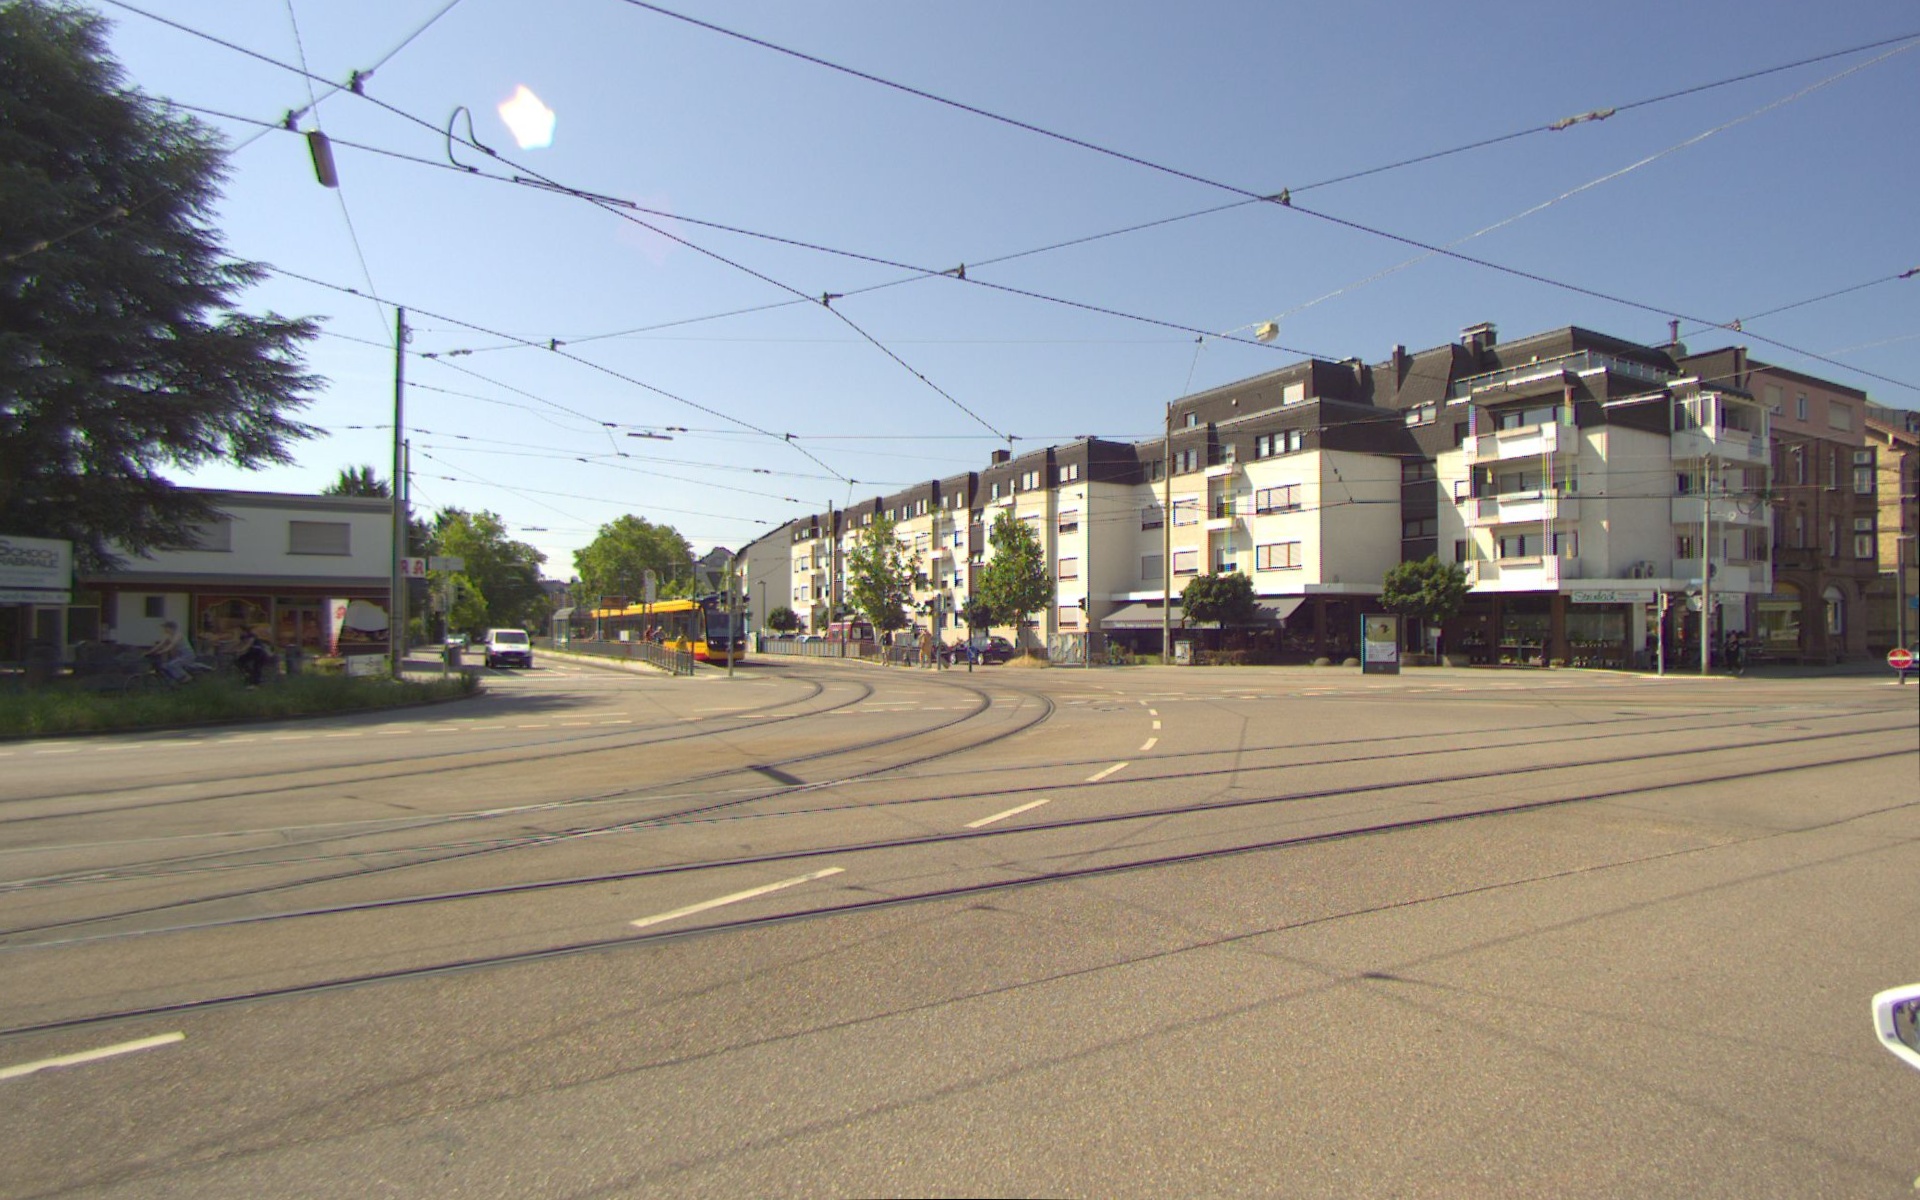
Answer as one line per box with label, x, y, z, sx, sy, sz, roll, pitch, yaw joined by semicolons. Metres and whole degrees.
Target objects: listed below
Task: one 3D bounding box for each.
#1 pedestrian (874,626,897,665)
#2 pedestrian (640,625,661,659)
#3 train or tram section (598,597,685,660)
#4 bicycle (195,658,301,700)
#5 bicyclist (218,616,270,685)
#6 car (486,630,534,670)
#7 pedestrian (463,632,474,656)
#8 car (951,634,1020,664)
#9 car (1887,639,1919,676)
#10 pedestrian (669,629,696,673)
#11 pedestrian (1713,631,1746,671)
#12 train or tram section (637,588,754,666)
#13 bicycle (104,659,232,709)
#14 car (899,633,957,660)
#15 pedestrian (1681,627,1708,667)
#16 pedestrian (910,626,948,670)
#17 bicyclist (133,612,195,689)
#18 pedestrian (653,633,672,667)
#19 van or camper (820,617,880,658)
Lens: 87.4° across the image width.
pedestrian;-3.473;2.117;46.827;0.755;1.783;0.805;1;-2;-31
pedestrian;-15.761;2.150;51.153;0.804;1.702;1.086;1;-2;-29
train or tram section;-21.211;1.933;66.151;2.735;3.706;13.803;1;-2;-29
bicycle;-16.810;1.845;23.798;0.564;0.902;2.137;-1;-2;17
bicyclist;-16.897;1.196;23.727;0.619;1.595;0.766;-1;-2;19
car;-22.369;2.461;49.851;1.755;1.886;4.625;1;-2;-29
pedestrian;-41.627;3.737;85.032;0.759;1.991;0.855;1;-2;-31
car;1.314;2.584;53.685;1.807;1.520;4.154;1;-2;-30
car;39.140;2.305;40.494;3.918;1.450;1.617;2;-1;-32
pedestrian;-12.046;2.196;43.554;0.886;1.862;1.193;1;-2;-29
pedestrian;32.005;2.119;41.775;0.671;1.669;0.876;1;-2;-23
train or tram section;-14.530;1.511;54.078;2.735;3.706;13.803;1;-2;-29
bicycle;-16.682;1.747;21.233;0.525;0.959;2.136;-1;-2;21
car;-1.908;2.725;59.047;1.807;1.520;3.969;1;-2;-30
pedestrian;31.090;1.989;42.519;0.724;1.669;0.675;1;-2;-30
pedestrian;-1.363;2.094;43.779;1.111;1.860;1.426;1;-2;-32
bicyclist;-16.728;1.066;21.133;0.619;1.578;0.766;-1;-3;16
pedestrian;-14.550;2.435;49.072;0.775;1.648;0.655;1;-2;-29
van or camper;-7.594;2.577;68.989;2.348;2.659;4.852;1;-2;-30
